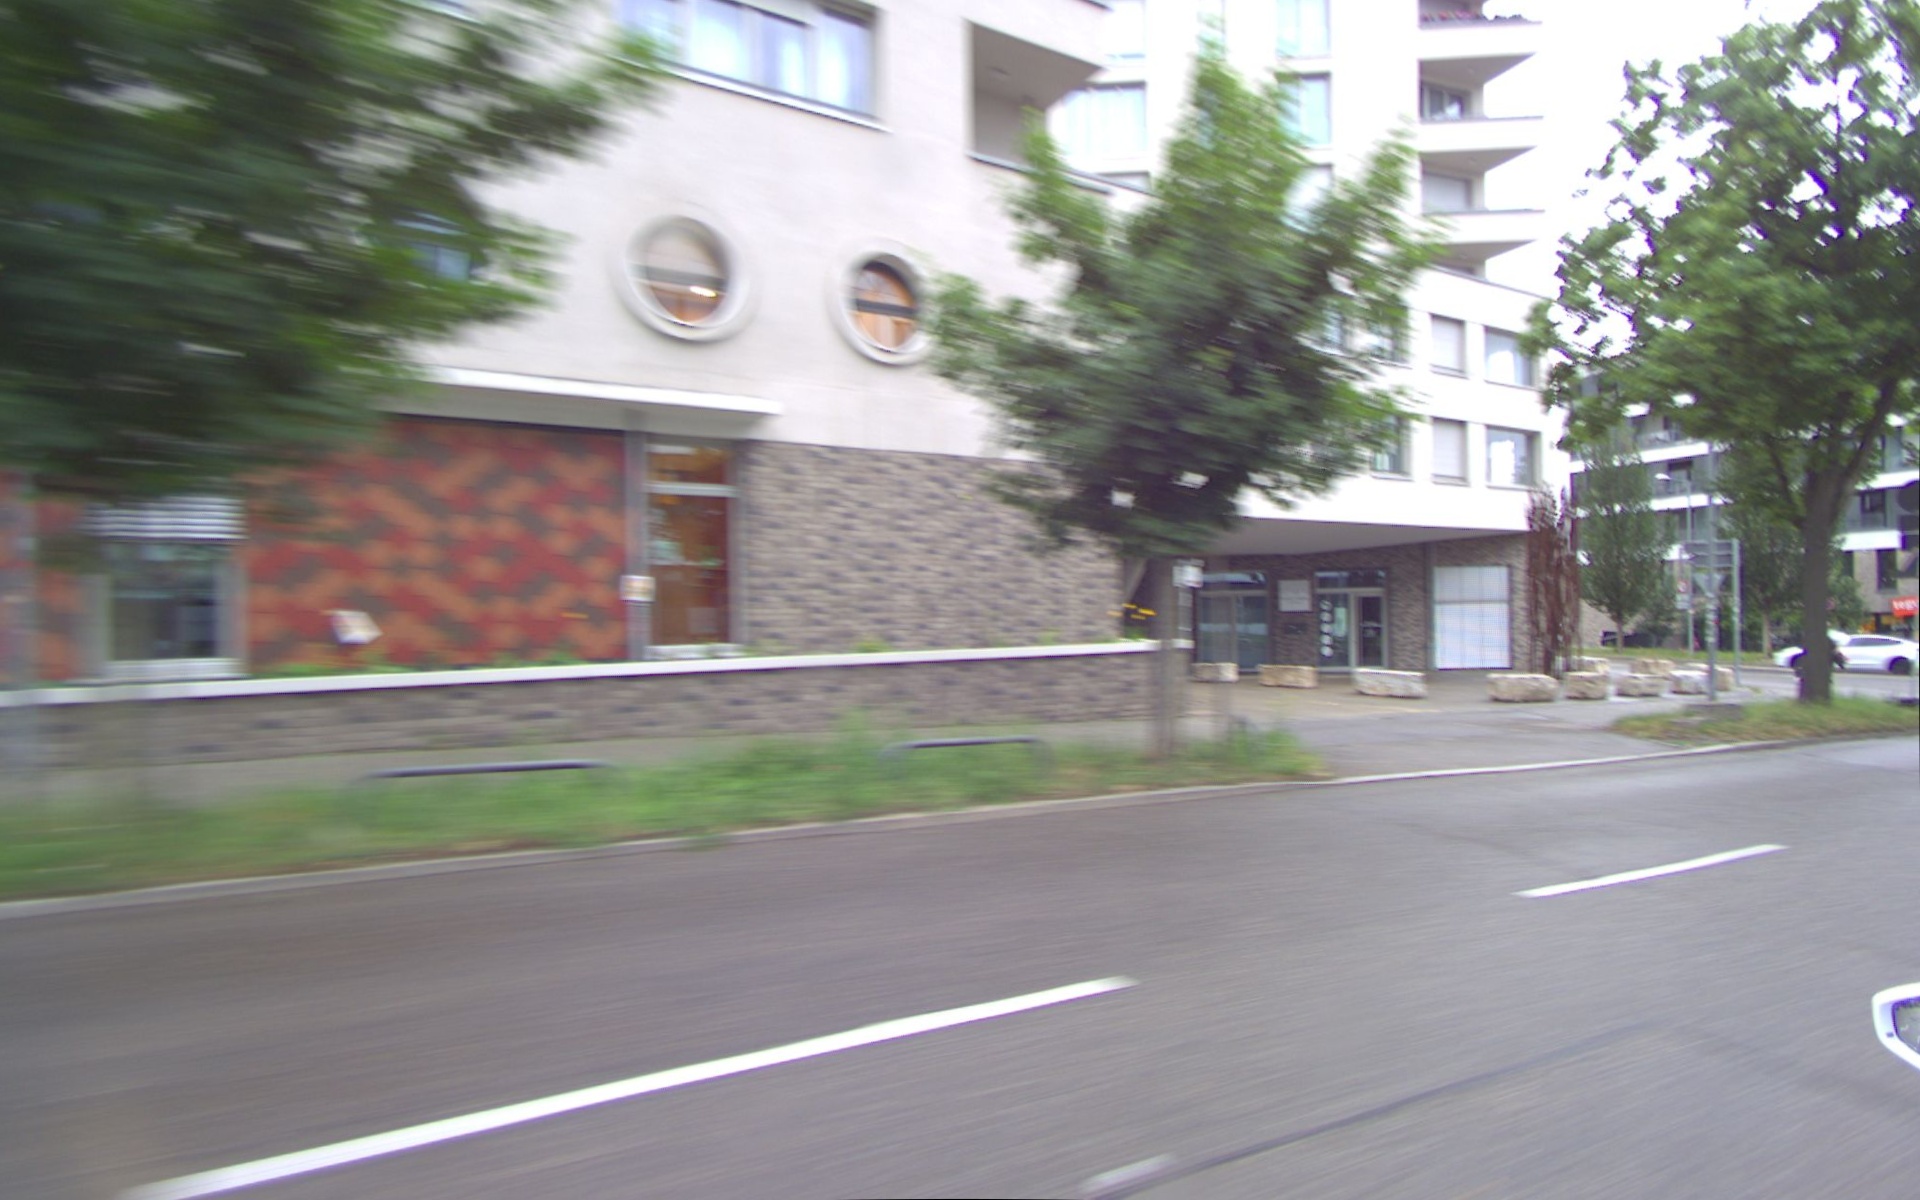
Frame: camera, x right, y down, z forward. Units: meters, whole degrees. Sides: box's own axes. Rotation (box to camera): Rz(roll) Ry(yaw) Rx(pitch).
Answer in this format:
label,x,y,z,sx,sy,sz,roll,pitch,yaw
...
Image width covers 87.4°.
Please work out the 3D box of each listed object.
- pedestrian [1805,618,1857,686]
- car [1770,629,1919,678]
label,x,y,z,sx,sy,sz,roll,pitch,yaw
pedestrian,26.831,1.591,30.944,1.091,2.040,1.046,2,-1,-40
car,34.105,1.992,38.322,2.048,1.683,4.762,2,-2,-42
